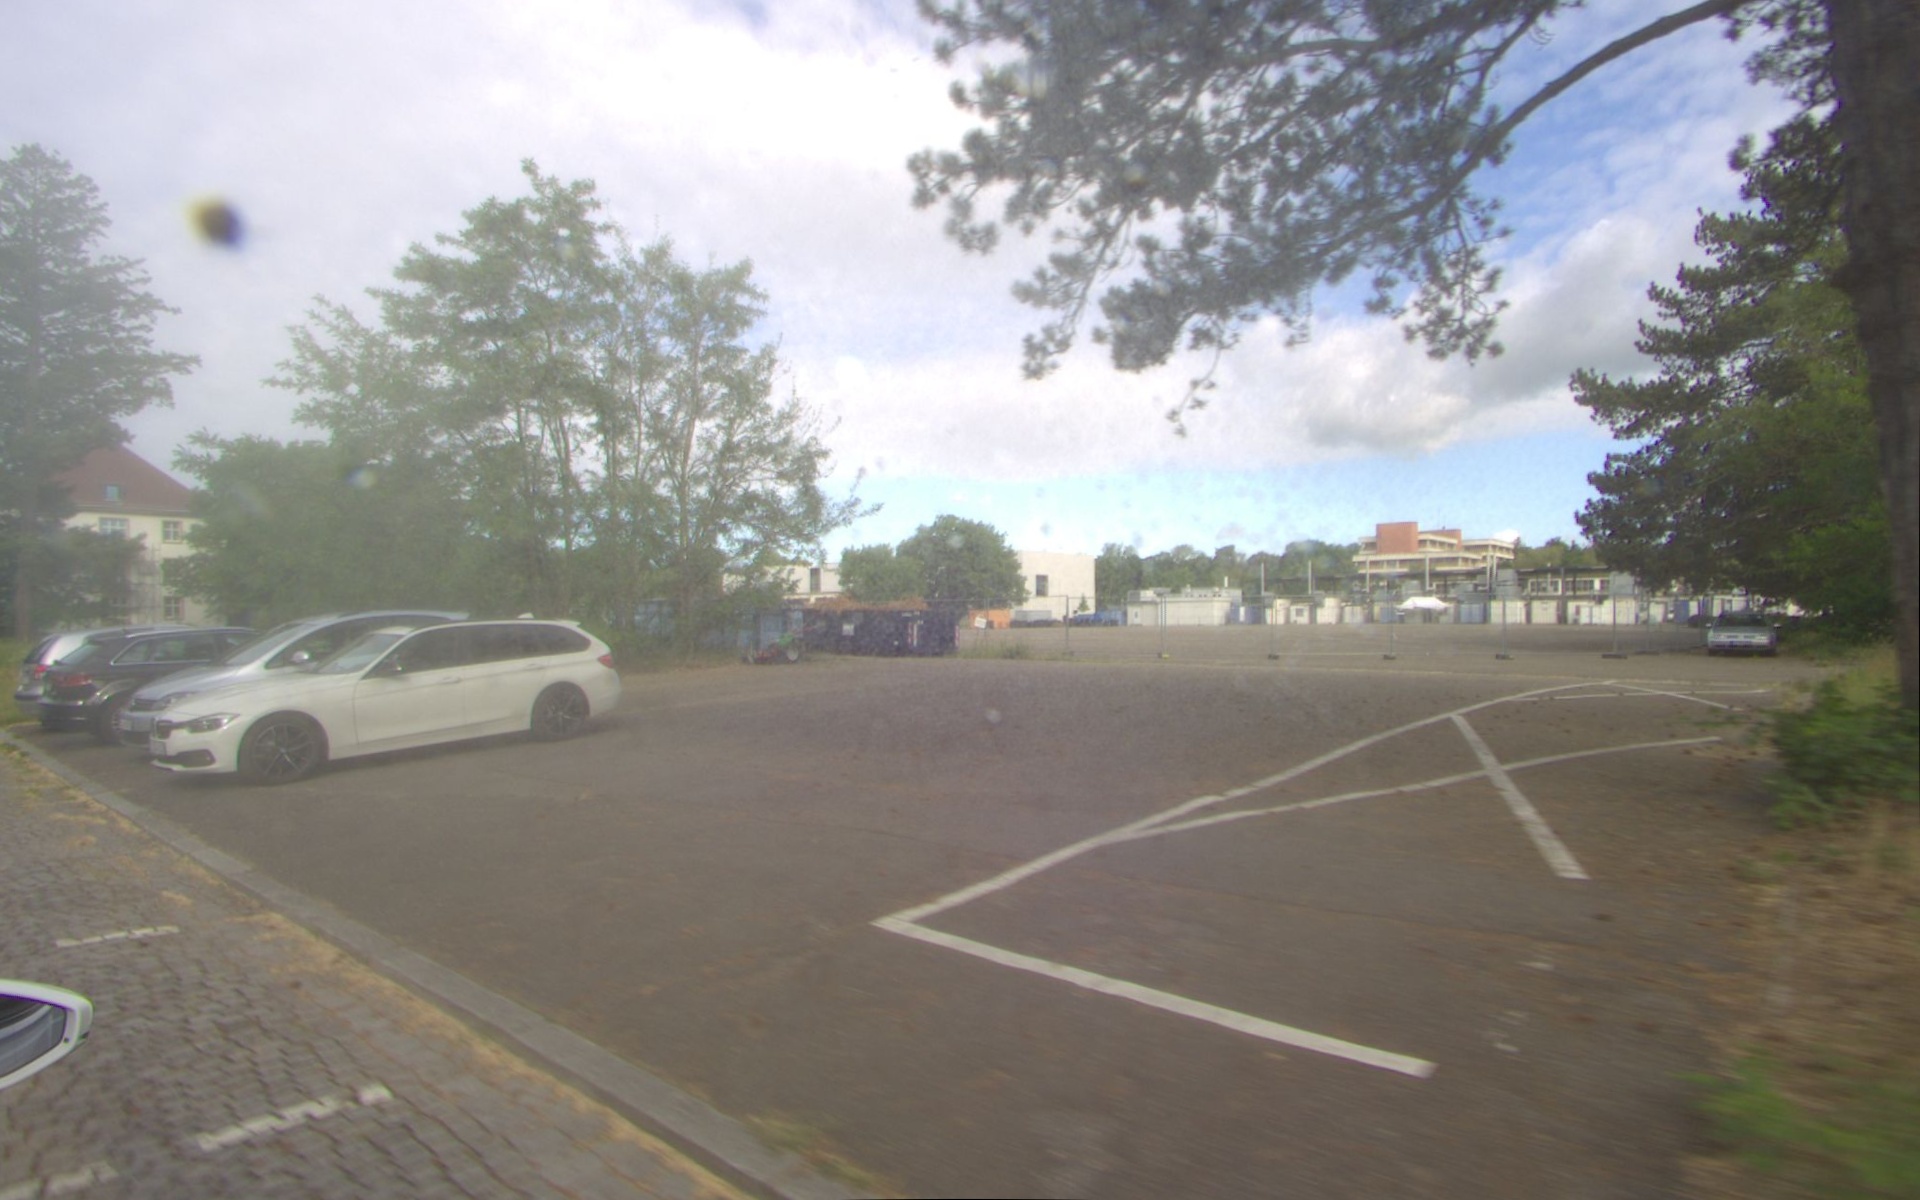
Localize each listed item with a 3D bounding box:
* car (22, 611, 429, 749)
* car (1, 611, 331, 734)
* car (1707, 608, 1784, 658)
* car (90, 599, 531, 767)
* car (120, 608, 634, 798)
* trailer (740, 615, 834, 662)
[{"bbox_3d":[-10.244,0.993,14.275,1.775,1.425,4.344,0,3,40],"label":"car"},{"bbox_3d":[-12.412,1.025,15.853,1.721,1.500,3.755,0,3,38],"label":"car"},{"bbox_3d":[25.467,1.027,32.586,1.840,1.493,4.123,0,0,37],"label":"car"},{"bbox_3d":[-8.025,0.896,12.781,1.803,1.596,4.313,-1,2,36],"label":"car"},{"bbox_3d":[-6.131,0.933,11.075,1.805,1.445,4.529,-1,2,38],"label":"car"},{"bbox_3d":[-4.587,1.028,26.662,1.130,1.185,2.303,-1,-2,40],"label":"trailer"}]
